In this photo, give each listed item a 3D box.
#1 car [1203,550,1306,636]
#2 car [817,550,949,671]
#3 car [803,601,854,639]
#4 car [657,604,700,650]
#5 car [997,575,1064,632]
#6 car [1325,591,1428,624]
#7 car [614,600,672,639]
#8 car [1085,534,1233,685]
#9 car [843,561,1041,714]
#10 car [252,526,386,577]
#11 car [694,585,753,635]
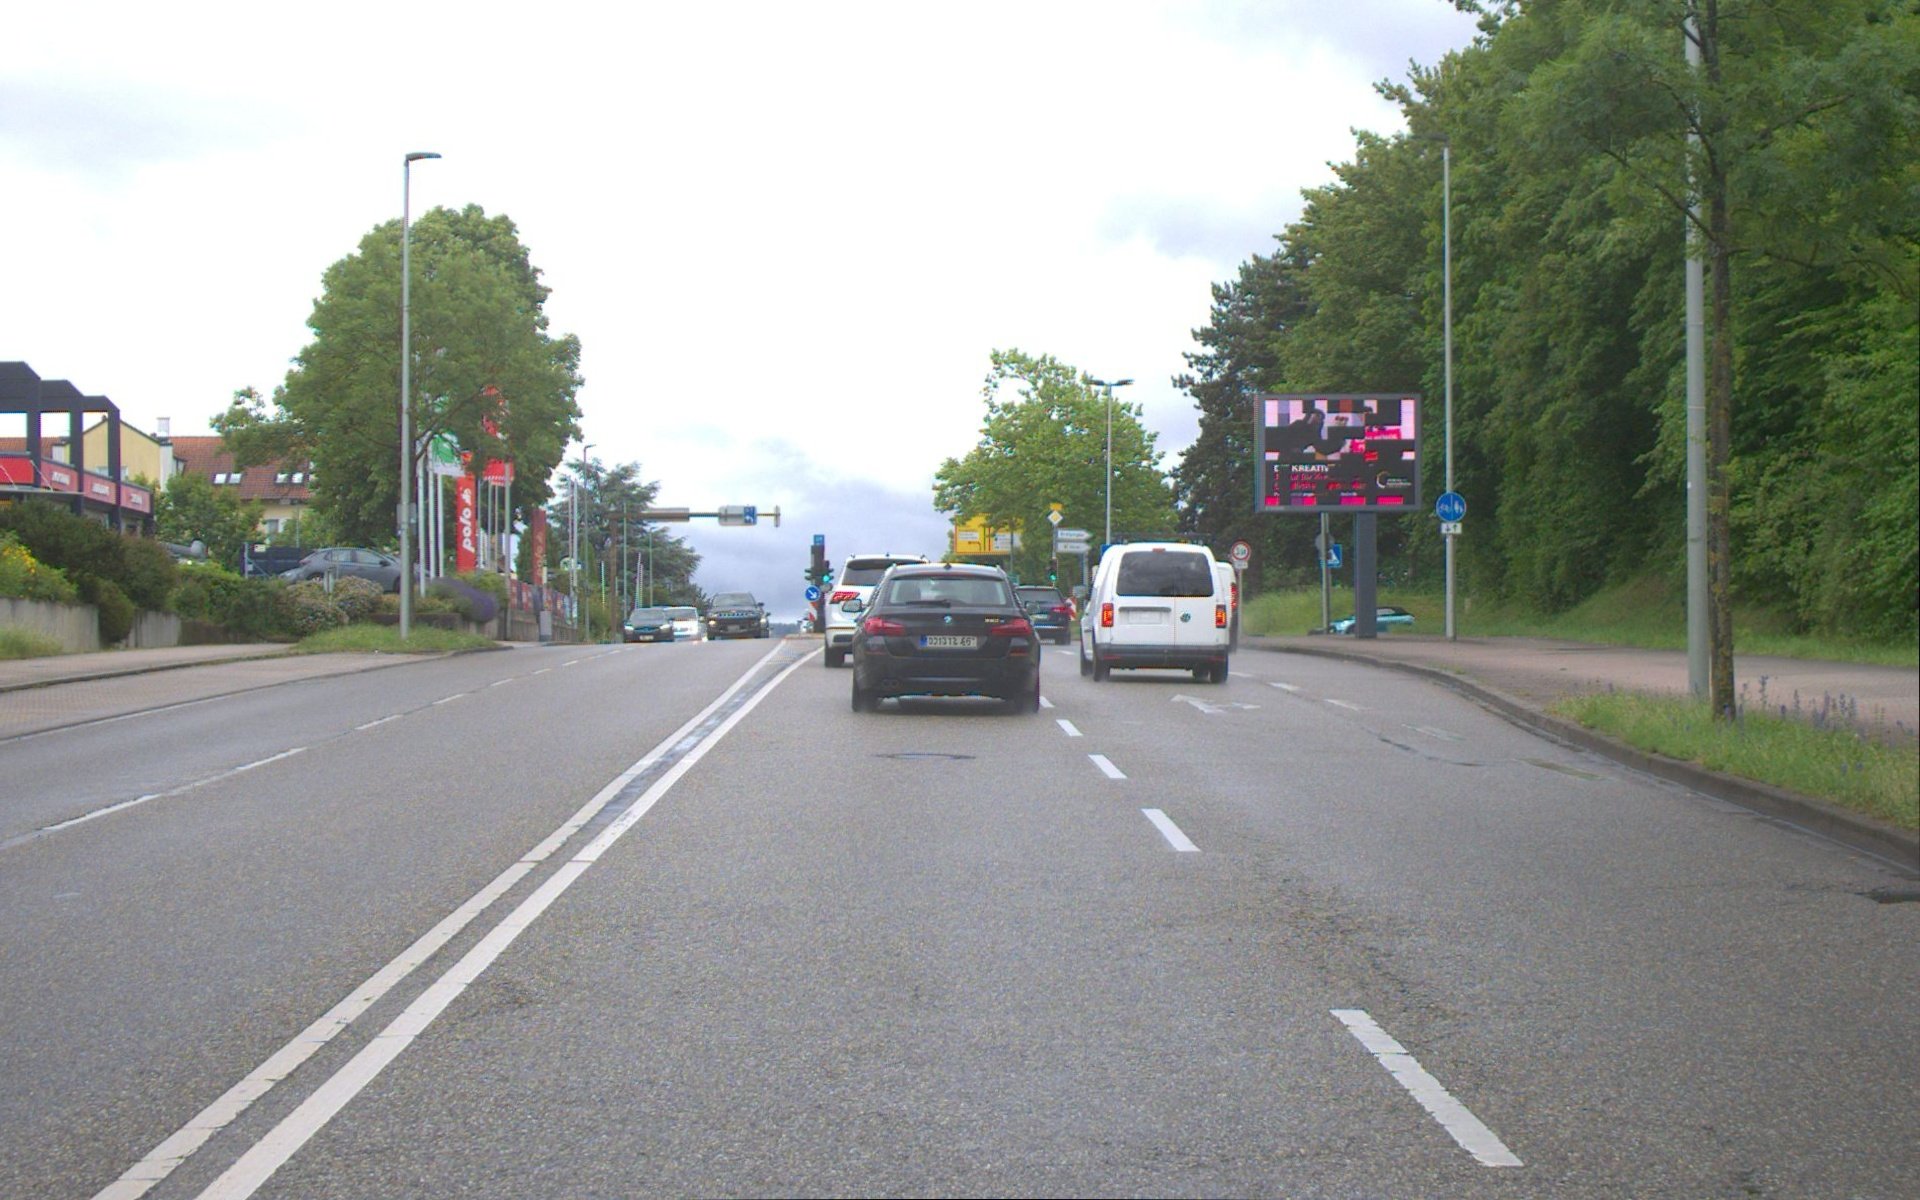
[{"bbox_3d":[5.975,-0.168,70.113,1.814,1.702,3.946,0,1,1],"label":"car"},{"bbox_3d":[-1.107,0.126,51.064,1.728,1.705,3.382,1,1,2],"label":"car"},{"bbox_3d":[-5.316,0.819,138.960,1.894,1.451,4.097,0,-1,-4],"label":"car"},{"bbox_3d":[-12.597,1.200,153.913,1.795,1.976,4.899,-1,0,-4],"label":"car"},{"bbox_3d":[1.746,0.071,86.043,1.600,1.367,3.680,-1,1,0],"label":"car"},{"bbox_3d":[17.657,0.300,145.743,3.986,1.289,1.609,-1,0,-19],"label":"car"},{"bbox_3d":[-11.909,0.714,129.277,1.793,1.397,4.300,-1,0,-1],"label":"car"},{"bbox_3d":[2.584,0.096,45.343,1.741,1.863,3.946,1,1,1],"label":"car"},{"bbox_3d":[-0.129,0.335,34.673,1.855,1.414,3.957,1,1,1],"label":"car"},{"bbox_3d":[-18.887,-1.434,101.424,3.825,1.477,1.742,0,0,-8],"label":"car"},{"bbox_3d":[-7.864,0.308,114.628,1.795,1.578,4.199,-1,1,-2],"label":"car"}]
